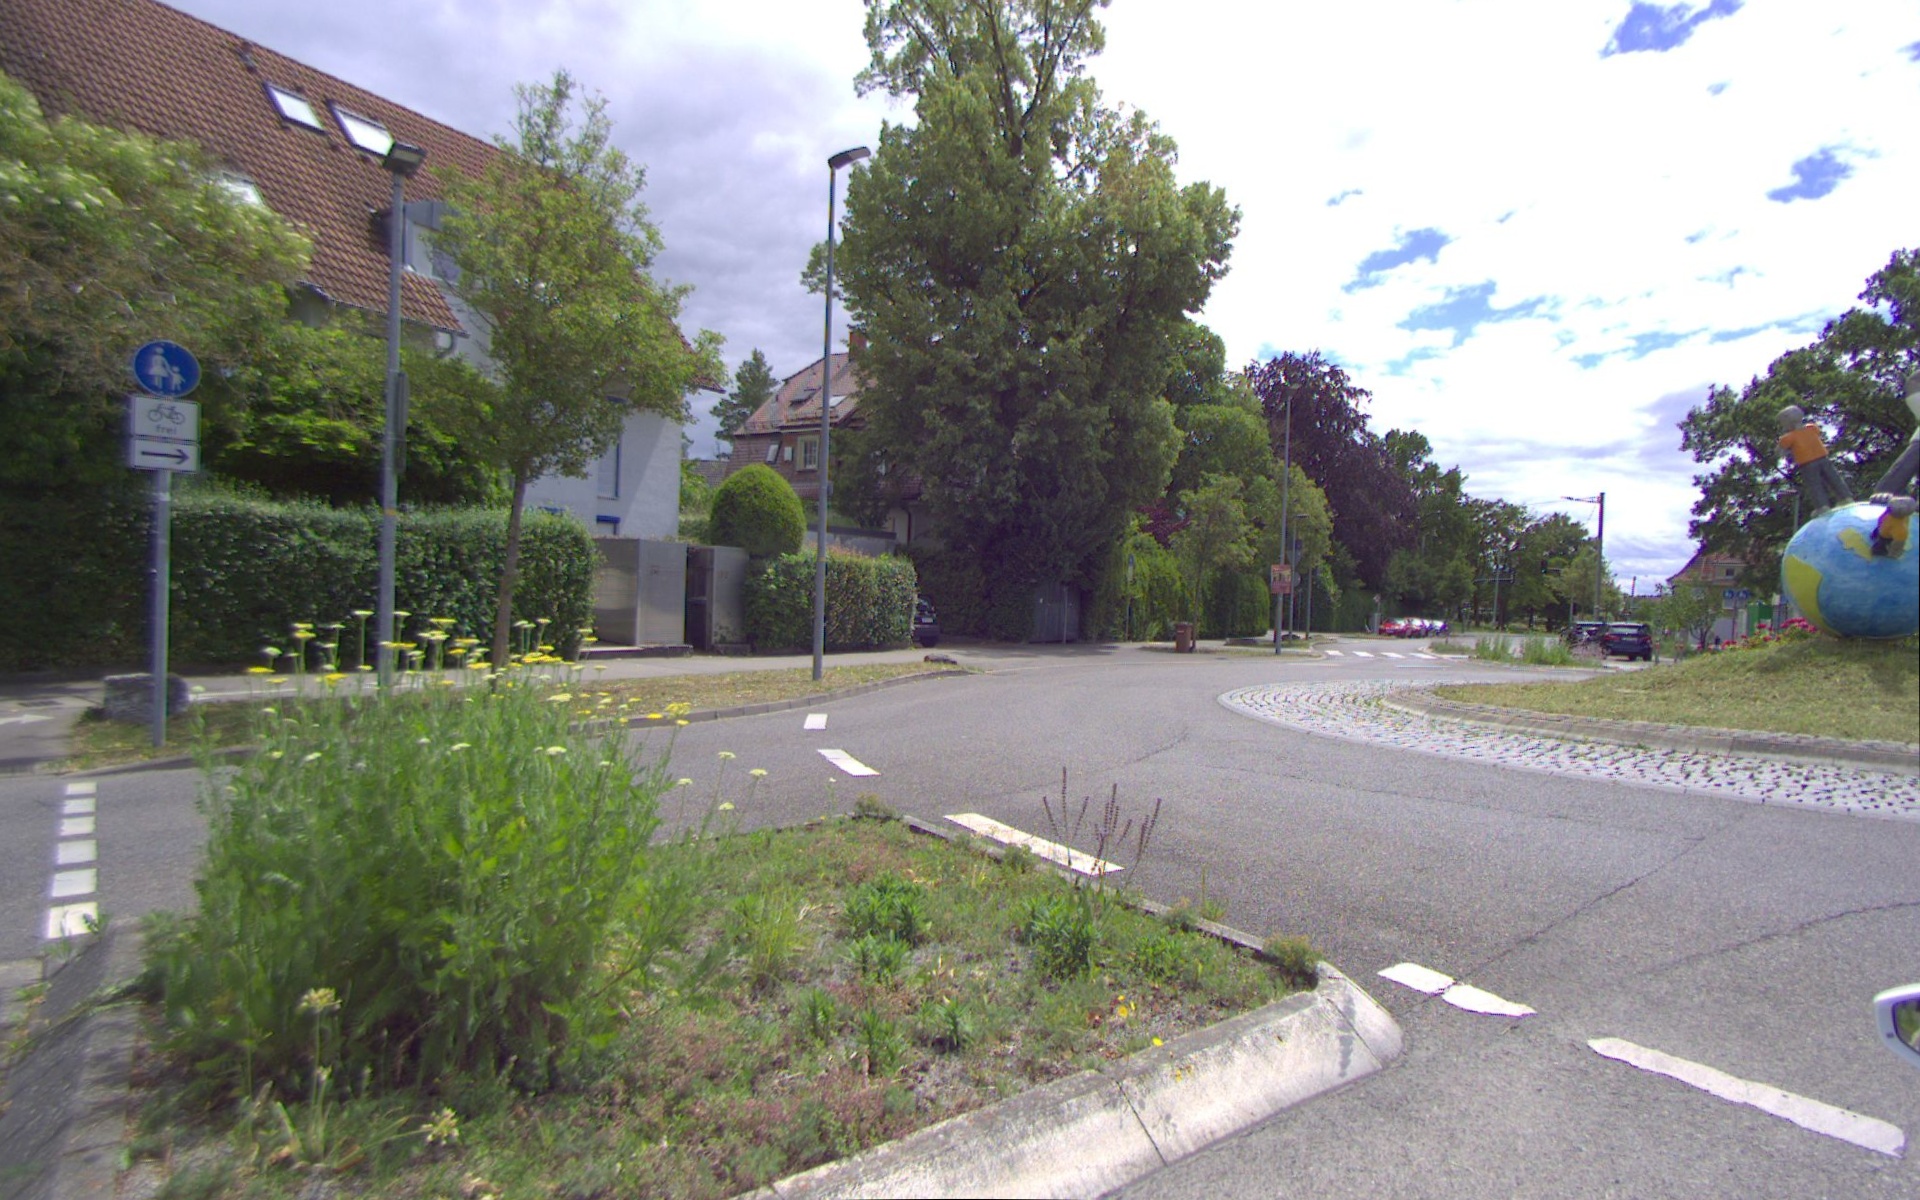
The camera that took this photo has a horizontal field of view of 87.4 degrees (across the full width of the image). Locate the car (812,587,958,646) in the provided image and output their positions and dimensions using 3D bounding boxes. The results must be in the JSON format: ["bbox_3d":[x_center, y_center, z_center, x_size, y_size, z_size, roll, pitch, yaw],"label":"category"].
[{"bbox_3d":[-2.140,0.424,28.028,1.987,1.506,3.947,1,0,-44],"label":"car"}]

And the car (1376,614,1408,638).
[{"bbox_3d":[30.836,1.833,71.705,2.030,1.405,4.045,3,2,23],"label":"car"}]

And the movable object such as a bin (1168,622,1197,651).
[{"bbox_3d":[6.859,1.121,30.935,0.623,0.874,0.636,1,0,43],"label":"movable object such as a bin"}]

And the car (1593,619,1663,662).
[{"bbox_3d":[27.998,1.663,42.049,1.910,1.558,3.904,4,2,41],"label":"car"}]

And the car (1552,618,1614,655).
[{"bbox_3d":[30.833,1.778,49.800,1.888,1.521,3.923,3,2,22],"label":"car"}]
